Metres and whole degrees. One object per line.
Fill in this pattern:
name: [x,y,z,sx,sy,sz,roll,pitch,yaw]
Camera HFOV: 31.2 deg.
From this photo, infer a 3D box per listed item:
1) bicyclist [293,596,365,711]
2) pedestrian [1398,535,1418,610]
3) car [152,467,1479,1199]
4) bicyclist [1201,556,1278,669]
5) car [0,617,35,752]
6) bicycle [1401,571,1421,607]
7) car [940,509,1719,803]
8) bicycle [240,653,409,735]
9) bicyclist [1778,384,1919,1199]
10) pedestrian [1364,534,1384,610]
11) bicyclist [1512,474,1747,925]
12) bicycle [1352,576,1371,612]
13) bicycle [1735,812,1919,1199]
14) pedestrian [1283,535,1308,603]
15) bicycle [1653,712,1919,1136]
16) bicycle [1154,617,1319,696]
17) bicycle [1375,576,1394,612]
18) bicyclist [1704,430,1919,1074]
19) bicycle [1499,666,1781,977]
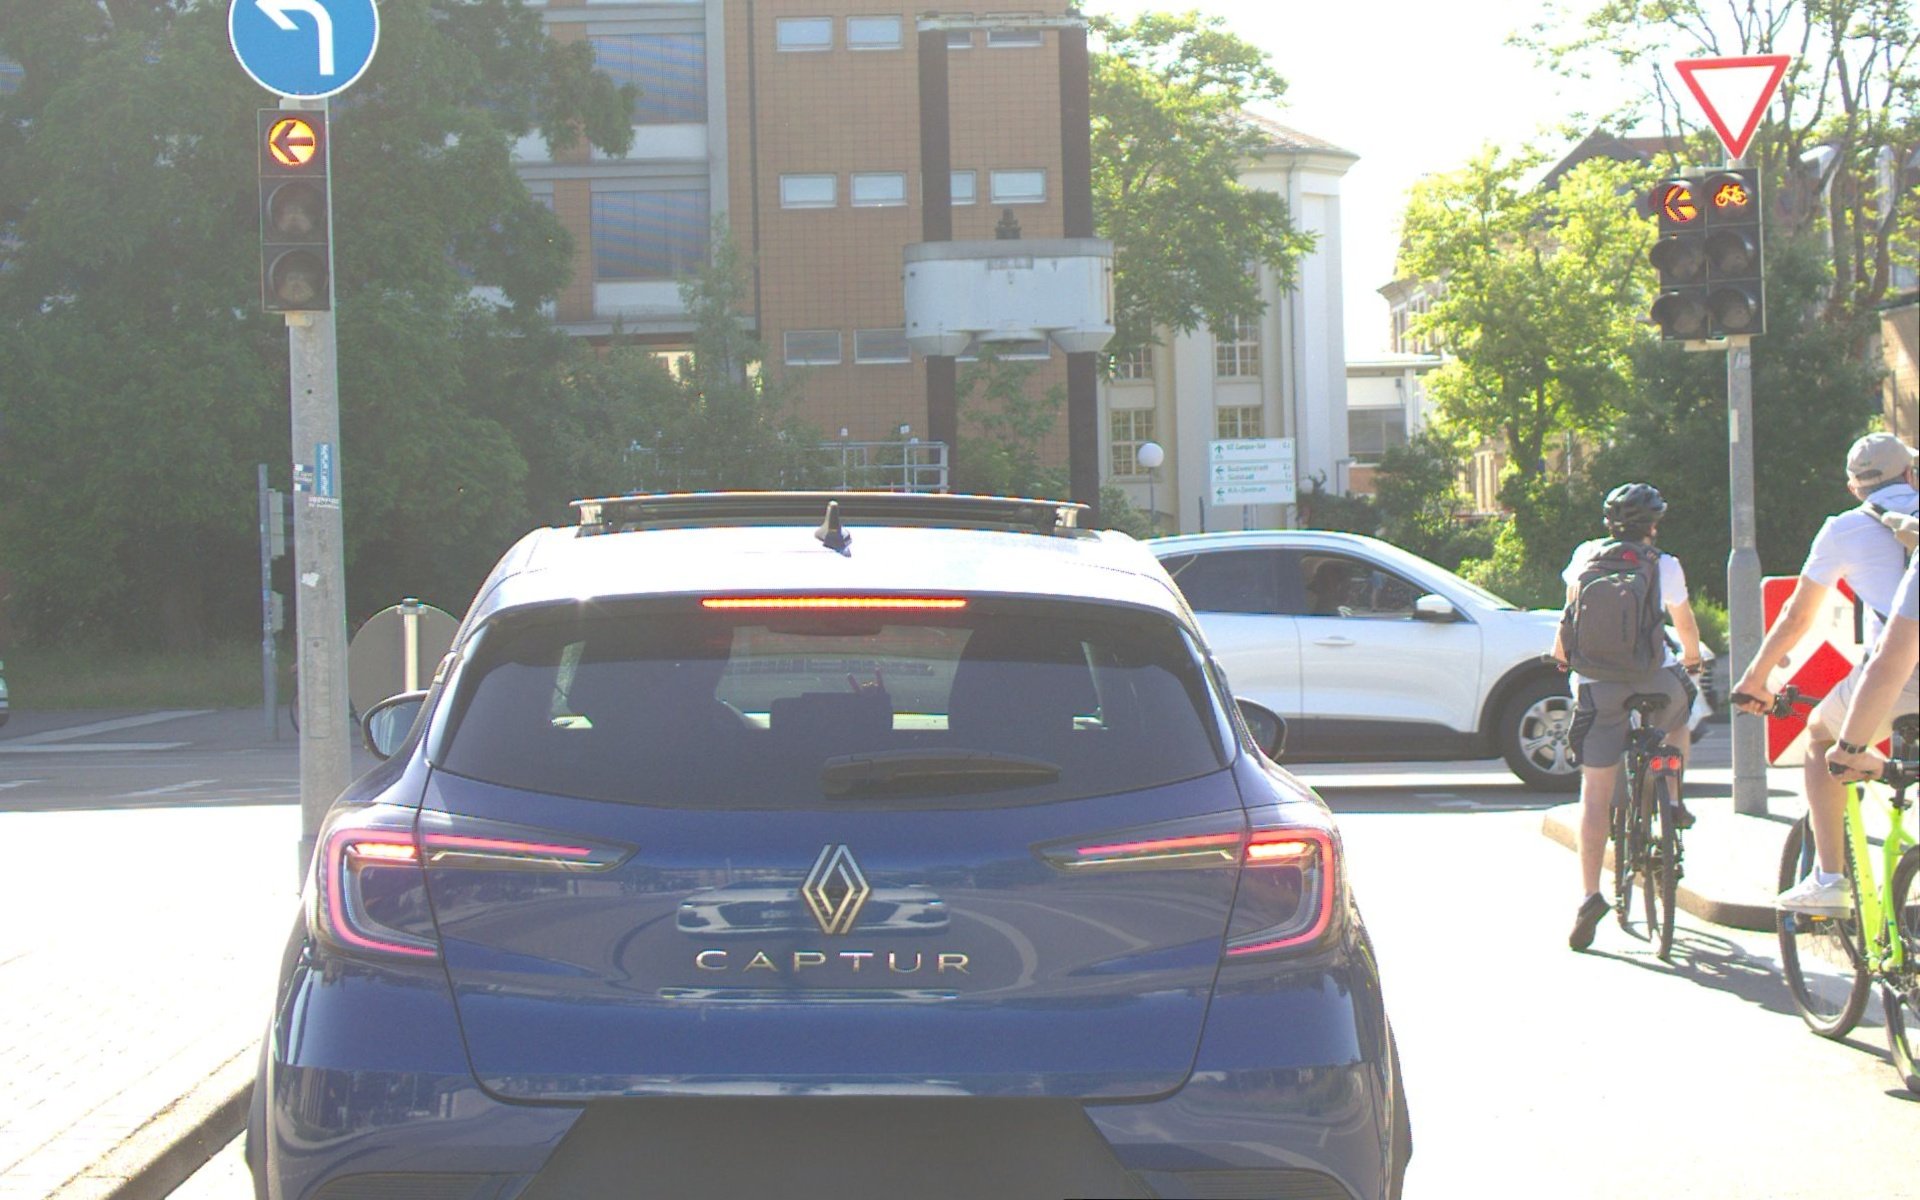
bicyclist: [-8.039,0.676,43.784,0.737,1.436,0.598,-1,1,-27]
pedestrian: [12.032,-0.748,92.391,0.475,2.007,0.468,-1,1,6]
car: [-0.273,0.614,6.693,1.803,1.626,4.000,0,1,-2]
bicyclist: [3.620,0.157,44.457,0.937,1.424,0.598,-1,1,8]
car: [-14.051,1.066,42.338,4.827,1.626,1.843,-1,1,15]
bicycle: [12.375,-0.303,94.400,0.405,0.969,1.683,1,1,4]
car: [2.386,0.382,21.840,4.689,1.614,1.843,-2,-2,12]
bicycle: [-8.086,1.189,43.766,2.005,0.961,0.598,-2,1,-27]
bicyclist: [2.227,0.408,7.242,0.751,1.663,1.016,1,0,1]
pedestrian: [10.975,-0.749,91.040,0.475,2.007,0.523,-1,1,6]
bicyclist: [2.503,0.355,12.942,0.726,1.623,0.969,1,0,4]
bicycle: [10.985,-0.175,94.077,0.405,0.969,1.683,1,1,4]
bicycle: [2.223,0.969,7.253,0.740,0.893,1.978,1,1,1]
pedestrian: [9.139,-0.850,93.595,0.623,1.849,0.563,-1,1,4]
bicycle: [2.607,0.866,9.818,0.659,0.999,1.970,1,1,-6]
bicycle: [3.579,0.731,44.478,2.077,0.961,0.598,-1,1,8]
bicycle: [11.607,-0.166,94.034,0.405,0.969,1.683,1,1,4]
bicyclist: [2.618,0.407,9.807,0.645,1.733,1.067,1,0,-6]
bicycle: [2.506,0.782,12.898,0.739,0.992,2.173,1,1,3]
